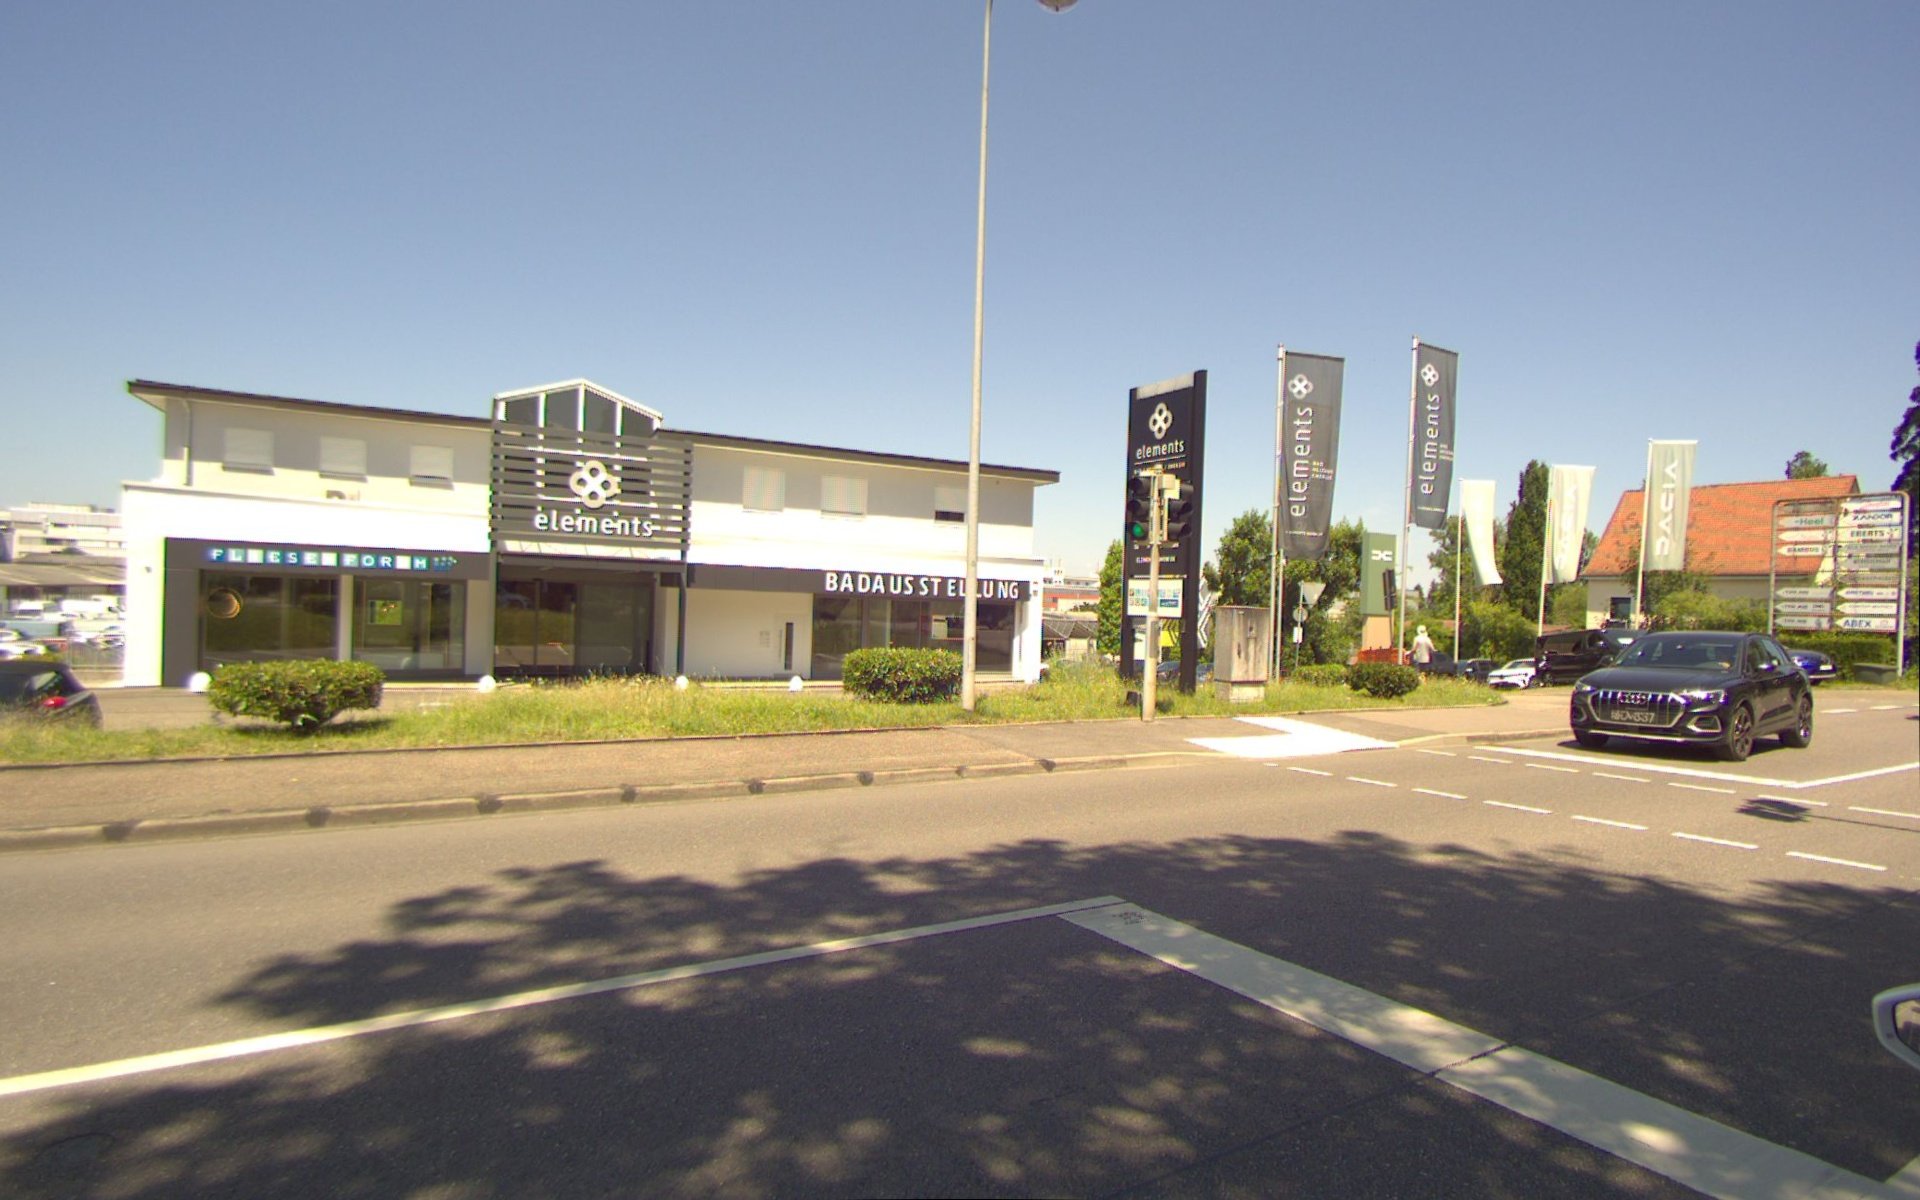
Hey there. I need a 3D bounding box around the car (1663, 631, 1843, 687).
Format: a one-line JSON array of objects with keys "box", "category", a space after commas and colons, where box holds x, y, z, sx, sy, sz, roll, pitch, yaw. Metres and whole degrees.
[{"box": [24.650, 1.806, 31.402, 1.751, 1.524, 4.129, 2, -1, -20], "category": "car"}]

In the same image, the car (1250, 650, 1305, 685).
[{"box": [18.181, 3.837, 57.484, 1.785, 1.744, 4.075, 2, 0, 36], "category": "car"}]

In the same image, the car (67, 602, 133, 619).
[{"box": [-96.134, 1.204, 112.391, 5.236, 1.778, 2.051, 2, -1, -28], "category": "car"}]

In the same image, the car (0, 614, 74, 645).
[{"box": [-55.260, 1.752, 59.547, 3.726, 1.778, 1.719, 2, -1, -28], "category": "car"}]

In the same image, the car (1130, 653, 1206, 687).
[{"box": [10.385, 3.459, 50.031, 3.973, 1.505, 1.735, 3, -1, -44], "category": "car"}]

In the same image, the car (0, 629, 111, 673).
[{"box": [-39.386, 2.200, 43.413, 3.726, 1.778, 1.719, 2, -1, -28], "category": "car"}]

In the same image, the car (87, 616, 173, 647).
[{"box": [-50.958, 1.934, 61.770, 3.726, 1.778, 1.719, 2, -1, -28], "category": "car"}]

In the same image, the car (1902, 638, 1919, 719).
[{"box": [20.303, 1.570, 19.700, 4.011, 1.526, 1.857, 2, -1, -34], "category": "car"}]

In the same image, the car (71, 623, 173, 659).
[{"box": [-43.300, 2.129, 51.991, 3.726, 1.778, 1.719, 2, -1, -28], "category": "car"}]

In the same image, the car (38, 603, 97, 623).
[{"box": [-83.409, 1.250, 93.919, 3.726, 1.778, 1.719, 2, -1, -28], "category": "car"}]

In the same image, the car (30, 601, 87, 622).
[{"box": [-88.455, 1.146, 98.621, 3.727, 1.778, 1.719, 4, -1, -28], "category": "car"}]

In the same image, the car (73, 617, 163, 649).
[{"box": [-49.537, 1.959, 59.192, 3.726, 1.778, 1.719, 2, -1, -28], "category": "car"}]

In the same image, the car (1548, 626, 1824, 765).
[{"box": [10.070, 1.211, 13.835, 4.263, 1.576, 1.912, 2, -1, -37], "category": "car"}]

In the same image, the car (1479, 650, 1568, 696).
[{"box": [23.613, 3.017, 42.032, 4.053, 1.744, 1.795, 2, 0, -38], "category": "car"}]

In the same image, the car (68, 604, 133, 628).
[{"box": [-71.293, 1.325, 83.352, 3.726, 1.777, 1.720, 2, -5, -28], "category": "car"}]

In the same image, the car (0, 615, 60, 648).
[{"box": [-53.763, 1.780, 56.917, 3.726, 1.778, 1.719, 2, -1, -28], "category": "car"}]

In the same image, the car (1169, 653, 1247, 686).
[{"box": [11.778, 3.271, 47.636, 3.837, 1.434, 1.634, 2, -1, -40], "category": "car"}]

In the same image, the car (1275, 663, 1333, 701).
[{"box": [18.407, 4.329, 53.641, 1.785, 1.744, 4.075, 2, 0, 36], "category": "car"}]

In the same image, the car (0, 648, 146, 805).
[{"box": [-12.000, 1.461, 12.591, 1.746, 1.553, 4.076, 2, -1, -24], "category": "car"}]

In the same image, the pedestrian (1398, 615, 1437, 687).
[{"box": [11.585, 1.285, 25.427, 0.689, 1.785, 0.545, 2, -1, -4], "category": "pedestrian"}]

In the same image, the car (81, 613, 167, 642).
[{"box": [-55.318, 1.808, 66.560, 4.004, 1.778, 1.719, 2, -1, -28], "category": "car"}]

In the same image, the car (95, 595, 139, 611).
[{"box": [-100.172, 0.395, 119.389, 3.726, 1.778, 1.719, 2, -1, -28], "category": "car"}]

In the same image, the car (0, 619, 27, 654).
[{"box": [-51.705, 1.892, 52.629, 3.726, 1.778, 1.719, 2, -1, -28], "category": "car"}]

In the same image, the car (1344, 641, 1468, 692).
[{"box": [16.855, 2.513, 37.986, 4.022, 1.744, 1.808, 2, 0, -16], "category": "car"}]
